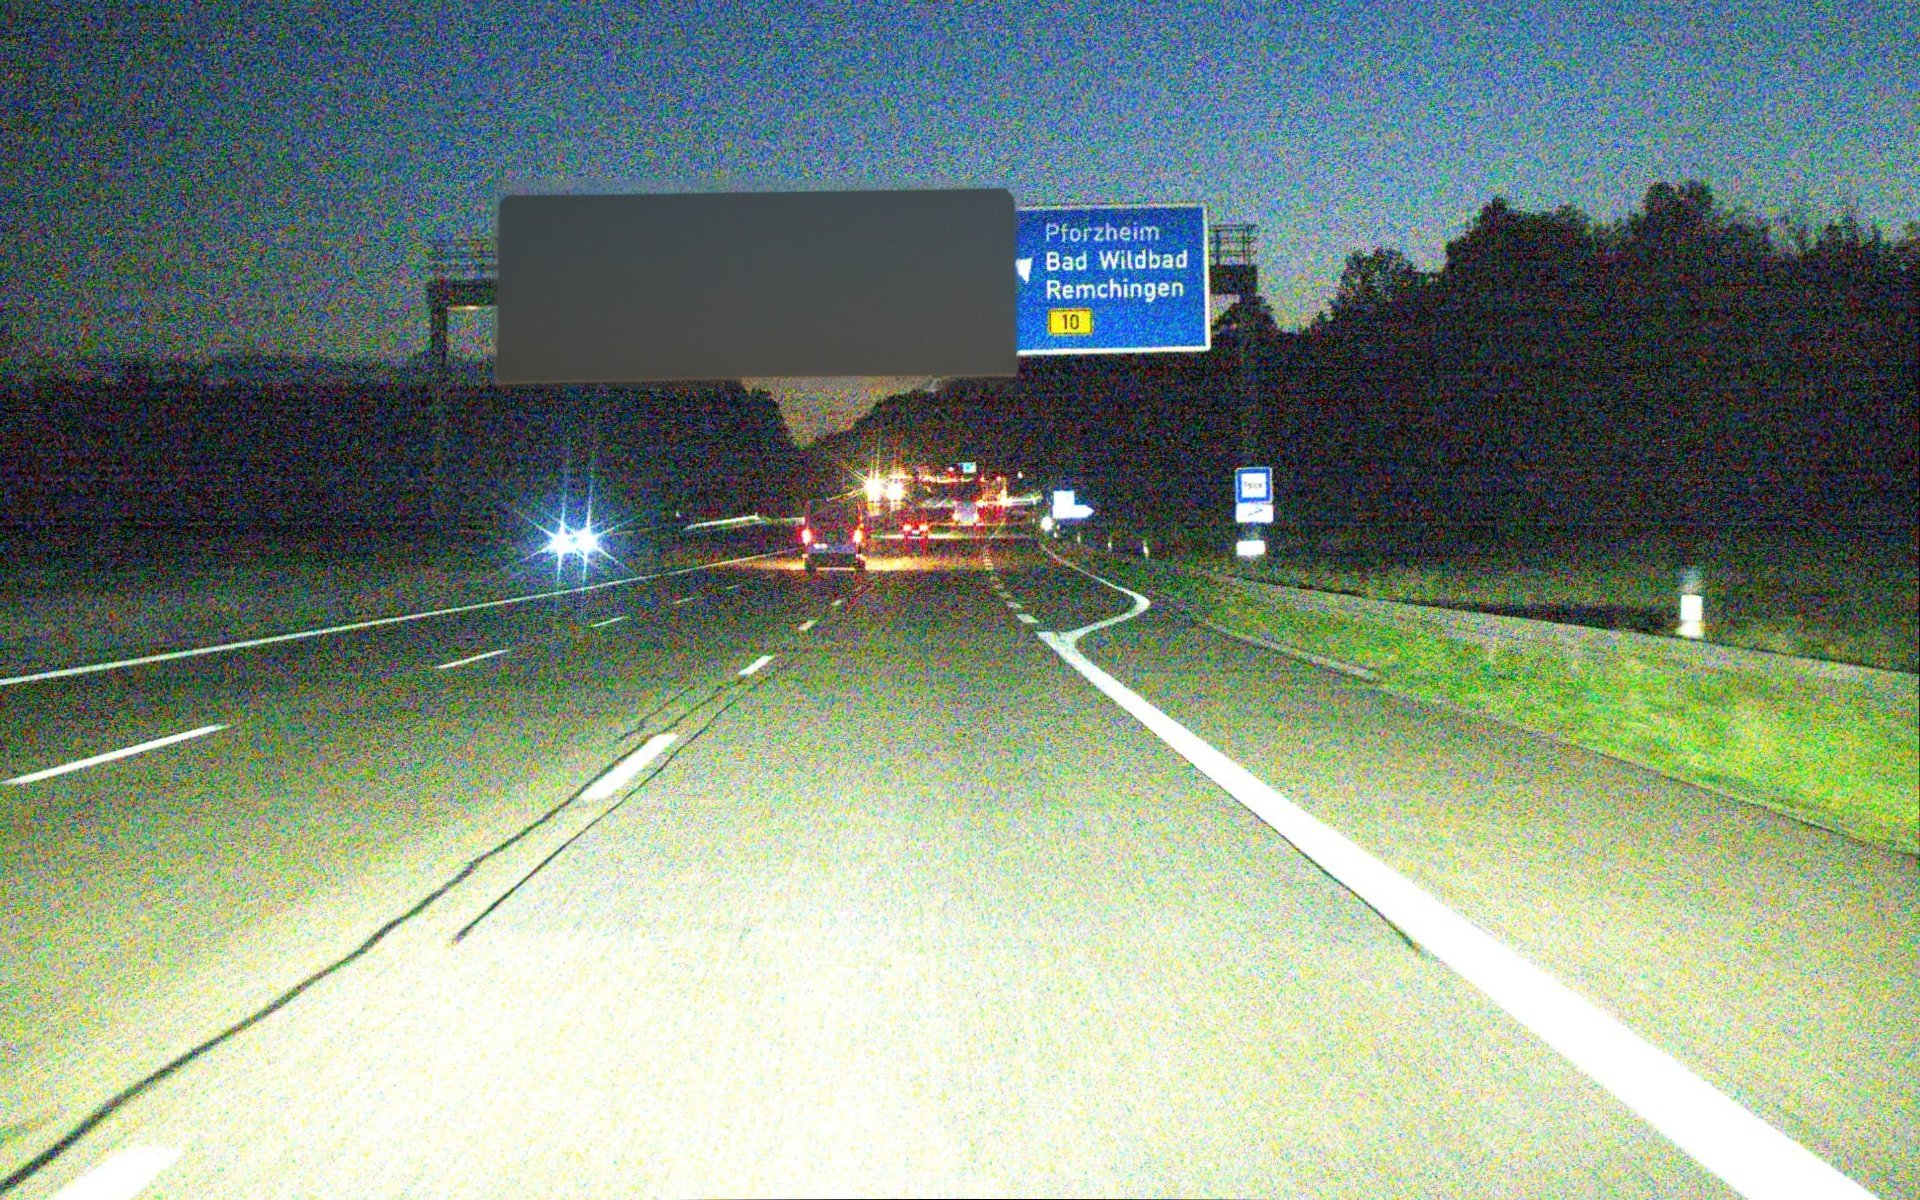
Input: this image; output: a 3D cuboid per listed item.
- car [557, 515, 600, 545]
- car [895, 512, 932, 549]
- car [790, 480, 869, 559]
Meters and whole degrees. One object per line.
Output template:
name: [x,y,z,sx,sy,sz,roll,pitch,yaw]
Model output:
car: [-22.663,-4.198,204.383,1.993,1.739,5.072,1,1,0]
car: [-3.495,-5.200,259.433,2.786,2.724,6.299,0,0,0]
car: [-4.705,-2.867,123.599,2.786,2.724,6.300,0,0,-2]
